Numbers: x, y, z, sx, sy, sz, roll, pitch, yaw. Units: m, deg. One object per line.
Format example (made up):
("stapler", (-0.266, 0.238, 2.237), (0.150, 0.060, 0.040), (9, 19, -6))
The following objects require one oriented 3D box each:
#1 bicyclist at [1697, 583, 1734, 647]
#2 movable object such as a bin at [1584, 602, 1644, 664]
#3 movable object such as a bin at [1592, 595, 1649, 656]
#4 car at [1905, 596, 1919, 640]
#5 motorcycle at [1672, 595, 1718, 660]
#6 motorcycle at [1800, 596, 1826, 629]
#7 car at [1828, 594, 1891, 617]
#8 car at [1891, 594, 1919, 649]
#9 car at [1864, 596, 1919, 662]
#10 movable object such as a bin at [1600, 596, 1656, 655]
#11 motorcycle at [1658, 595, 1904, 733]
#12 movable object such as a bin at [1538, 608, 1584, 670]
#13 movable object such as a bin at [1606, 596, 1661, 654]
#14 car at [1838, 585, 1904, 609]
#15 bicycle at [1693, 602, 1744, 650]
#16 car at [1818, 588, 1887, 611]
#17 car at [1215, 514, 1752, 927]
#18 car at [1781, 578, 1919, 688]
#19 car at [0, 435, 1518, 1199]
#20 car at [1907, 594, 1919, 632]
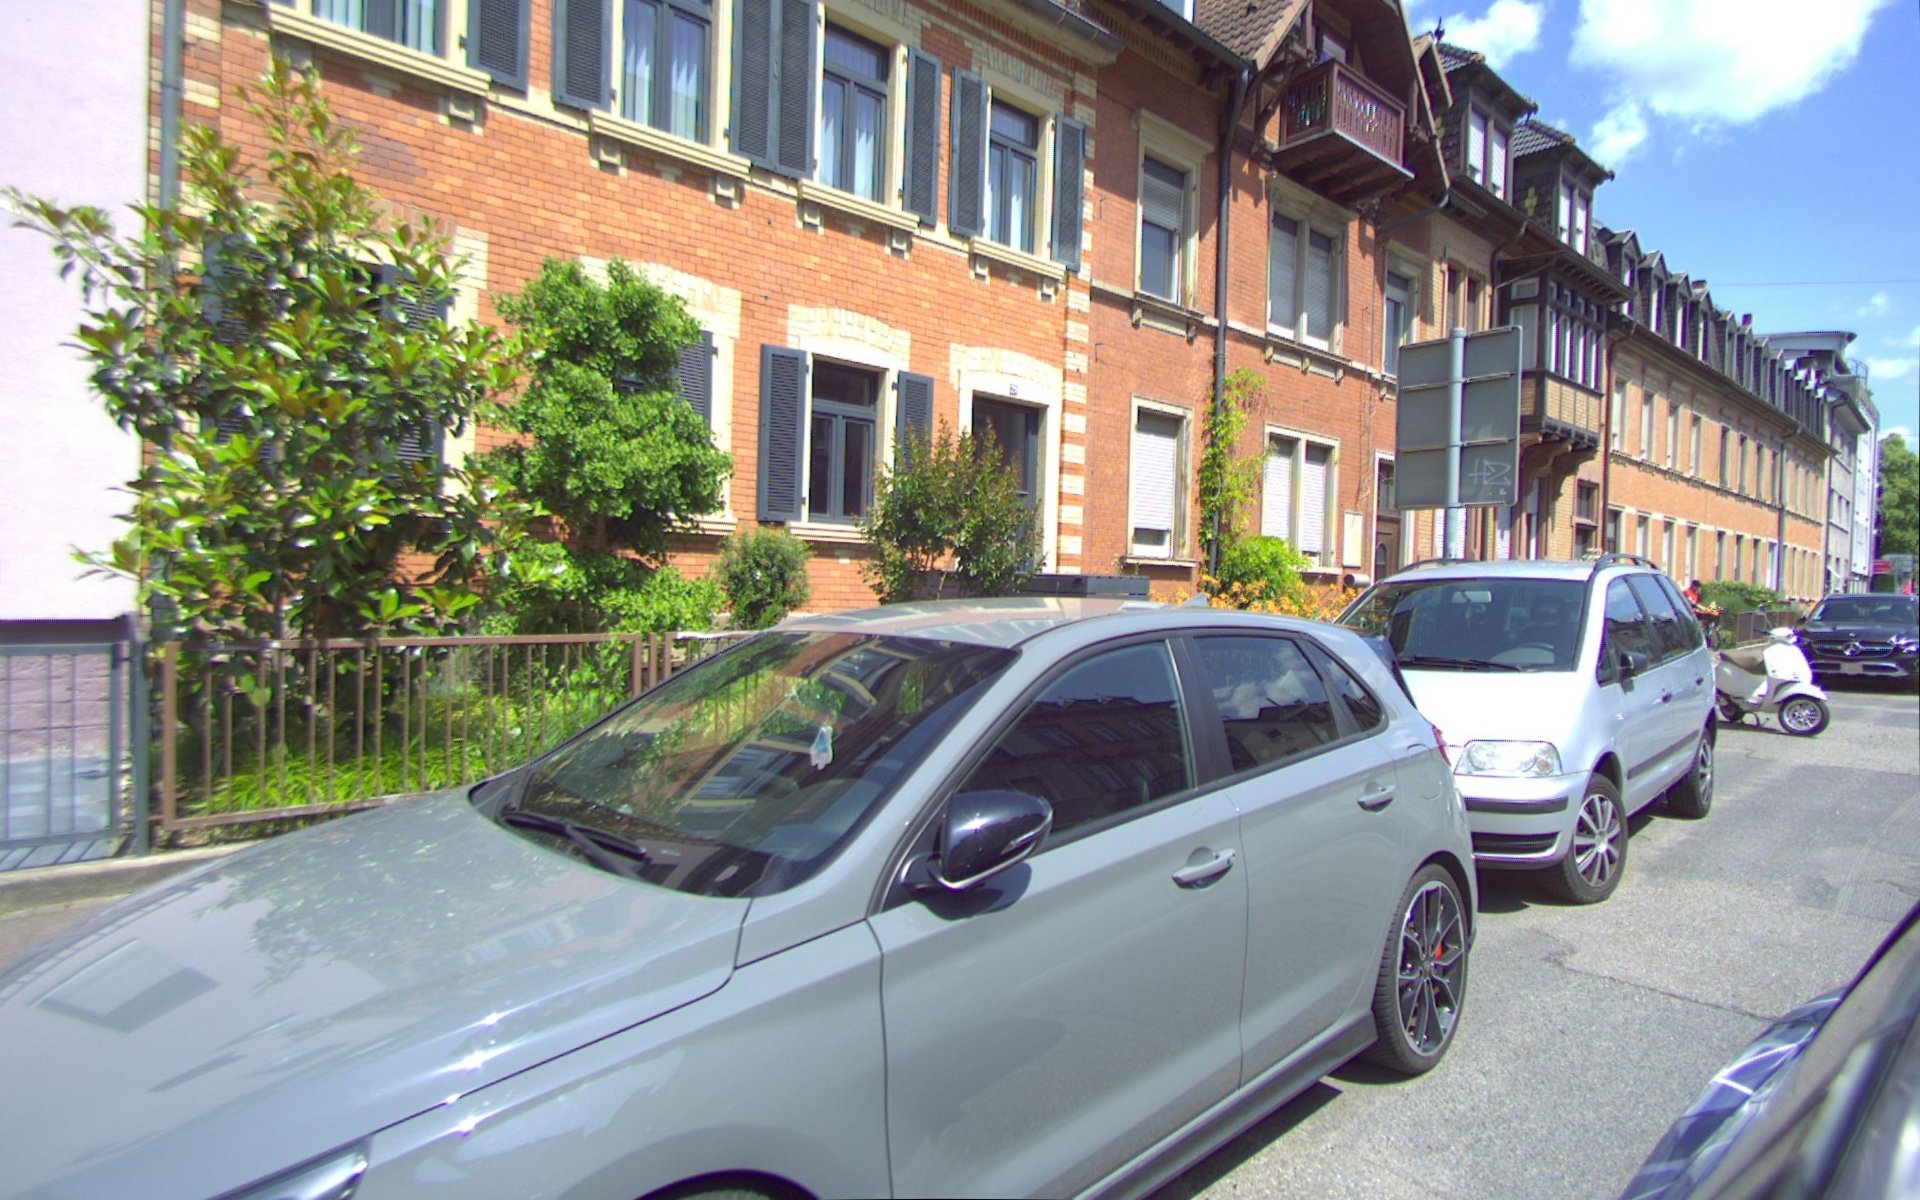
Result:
("bicyclist", (18.115, 0.355, 24.260), (0.777, 1.487, 0.533), (0, 2, -42))
("movable object such as a bin", (12.263, 0.606, 18.971), (0.675, 1.102, 0.788), (0, 2, -45))
("movable object such as a bin", (12.651, 0.479, 19.382), (0.545, 1.102, 0.788), (0, 2, -45))
("car", (32.792, 0.591, 33.786), (1.701, 1.398, 4.099), (2, 2, 45))
("motorcycle", (15.013, 0.549, 20.663), (1.335, 1.252, 0.440), (0, 3, -43))
("motorcycle", (32.677, 0.474, 38.762), (1.339, 1.240, 0.596), (0, 2, -44))
("car", (73.004, 0.390, 82.197), (3.760, 1.688, 1.639), (3, 2, 41))
("car", (27.203, 0.565, 28.261), (1.647, 1.432, 4.434), (1, 1, 41))
("car", (23.073, 0.659, 24.162), (4.511, 1.432, 1.719), (0, 2, -42))
("movable object such as a bin", (13.055, 0.491, 19.791), (0.535, 1.102, 0.788), (0, 2, -45))
("motorcycle", (9.314, 0.670, 11.626), (1.091, 1.403, 1.998), (0, 1, -4))
("movable object such as a bin", (9.628, 0.610, 16.213), (0.517, 0.953, 0.482), (0, 1, -41))
("movable object such as a bin", (13.447, 0.481, 20.201), (0.530, 1.102, 0.788), (0, 2, -45))
("car", (87.774, -0.283, 97.540), (2.071, 2.305, 4.605), (0, 0, -44))
("bicycle", (18.183, 0.608, 24.251), (1.850, 1.079, 0.594), (0, 2, -42))
("car", (70.987, -0.079, 80.523), (3.988, 1.772, 1.984), (2, 2, 45))
("car", (3.675, 0.516, 6.622), (1.861, 1.770, 4.543), (0, 0, 45))
("car", (16.302, 0.500, 17.955), (4.546, 1.682, 1.997), (0, 2, -42))
("car", (-0.161, 0.607, 2.832), (4.238, 1.506, 1.862), (0, 0, -44))
("car", (40.151, 0.538, 41.329), (1.851, 1.481, 4.486), (1, 1, 39))
